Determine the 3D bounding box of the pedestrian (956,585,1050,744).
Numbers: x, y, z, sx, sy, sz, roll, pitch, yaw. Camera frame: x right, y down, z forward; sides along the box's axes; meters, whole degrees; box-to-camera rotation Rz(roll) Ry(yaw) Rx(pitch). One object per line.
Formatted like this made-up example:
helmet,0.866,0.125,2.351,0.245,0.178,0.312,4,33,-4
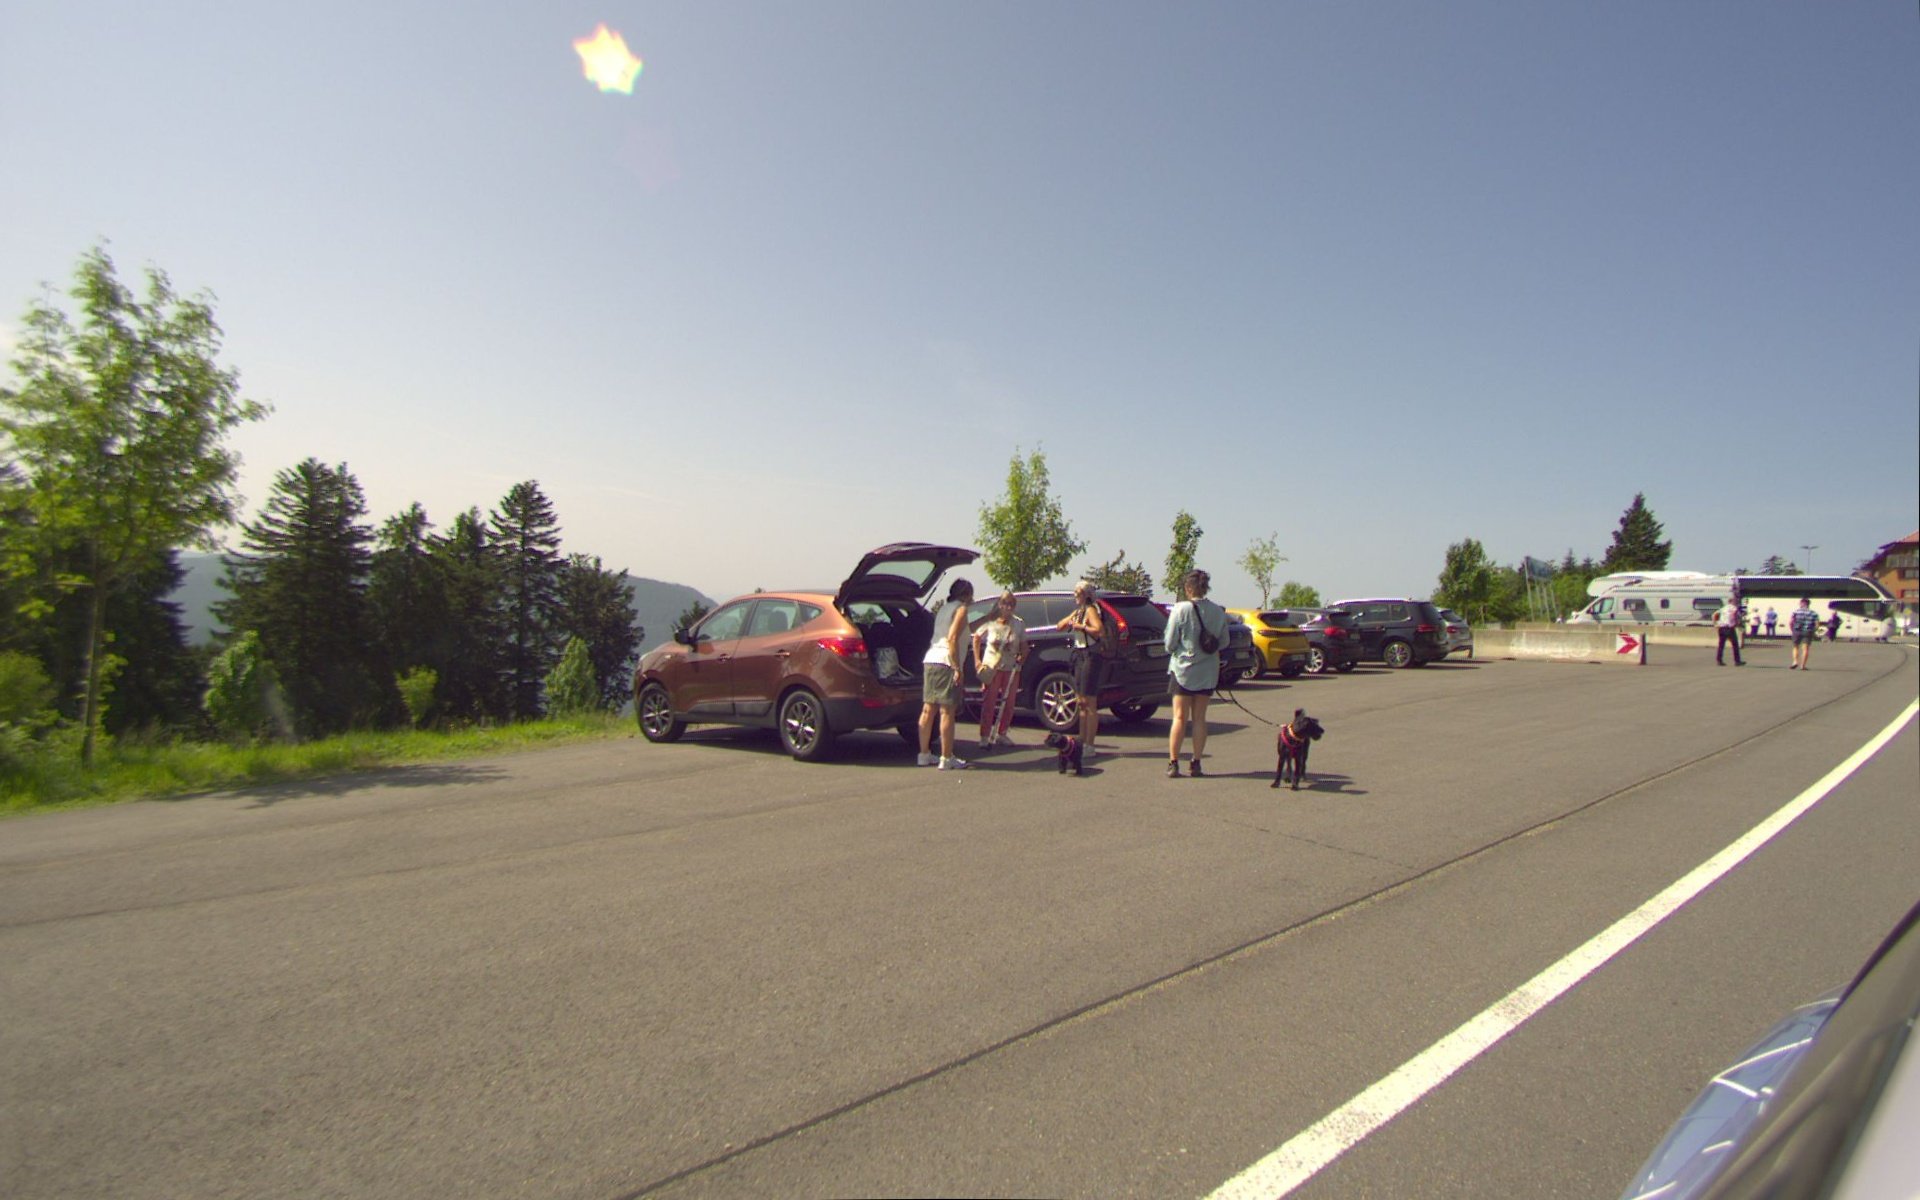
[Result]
pedestrian,0.450,0.662,10.668,0.720,1.607,0.620,3,0,-26

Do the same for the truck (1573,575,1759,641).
truck,30.406,0.280,43.754,2.302,2.623,6.264,2,0,-45

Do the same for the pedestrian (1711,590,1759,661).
pedestrian,19.684,0.632,25.699,0.876,1.763,0.667,2,0,-32

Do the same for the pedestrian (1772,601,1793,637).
pedestrian,40.924,0.928,50.357,0.615,1.780,0.632,2,0,-32

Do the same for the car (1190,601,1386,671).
car,7.496,0.829,23.437,1.731,1.455,4.006,0,-2,-38

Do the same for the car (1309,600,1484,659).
car,11.737,0.789,27.371,3.984,1.495,1.746,-2,-2,43

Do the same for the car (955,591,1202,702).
car,1.853,0.656,16.424,3.746,1.587,1.577,1,0,39

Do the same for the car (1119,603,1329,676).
car,5.565,0.765,21.687,1.951,1.370,3.996,1,0,-39

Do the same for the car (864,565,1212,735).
car,0.870,0.555,13.047,4.264,1.817,1.862,1,-2,44

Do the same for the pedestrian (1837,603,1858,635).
pedestrian,44.454,0.966,50.711,0.615,1.587,0.632,2,0,-32

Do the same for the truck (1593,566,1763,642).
truck,32.629,0.125,46.122,6.061,3.236,2.493,1,0,43

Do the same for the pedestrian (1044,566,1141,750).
pedestrian,1.293,0.541,9.897,0.607,1.714,0.717,1,0,-38

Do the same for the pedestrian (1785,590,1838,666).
pedestrian,20.618,0.668,24.512,0.760,1.782,0.757,2,0,-32

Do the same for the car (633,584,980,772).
car,-1.766,0.729,10.899,3.812,1.682,1.628,-1,-1,41

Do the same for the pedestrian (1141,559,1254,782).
pedestrian,2.027,0.568,8.644,0.710,1.798,0.618,1,0,-38

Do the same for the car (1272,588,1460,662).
car,9.892,0.613,24.855,3.983,1.668,1.576,-2,-2,42

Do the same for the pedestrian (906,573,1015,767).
pedestrian,0.000,0.613,9.249,0.674,1.681,0.655,3,0,-32

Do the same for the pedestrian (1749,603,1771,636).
pedestrian,40.521,0.979,51.280,0.615,1.672,0.633,1,0,-22

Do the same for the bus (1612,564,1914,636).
bus,43.930,-0.145,56.035,2.792,3.622,12.856,1,0,-44

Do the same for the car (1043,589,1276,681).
car,3.734,0.634,19.277,3.984,1.556,1.779,1,-3,42
